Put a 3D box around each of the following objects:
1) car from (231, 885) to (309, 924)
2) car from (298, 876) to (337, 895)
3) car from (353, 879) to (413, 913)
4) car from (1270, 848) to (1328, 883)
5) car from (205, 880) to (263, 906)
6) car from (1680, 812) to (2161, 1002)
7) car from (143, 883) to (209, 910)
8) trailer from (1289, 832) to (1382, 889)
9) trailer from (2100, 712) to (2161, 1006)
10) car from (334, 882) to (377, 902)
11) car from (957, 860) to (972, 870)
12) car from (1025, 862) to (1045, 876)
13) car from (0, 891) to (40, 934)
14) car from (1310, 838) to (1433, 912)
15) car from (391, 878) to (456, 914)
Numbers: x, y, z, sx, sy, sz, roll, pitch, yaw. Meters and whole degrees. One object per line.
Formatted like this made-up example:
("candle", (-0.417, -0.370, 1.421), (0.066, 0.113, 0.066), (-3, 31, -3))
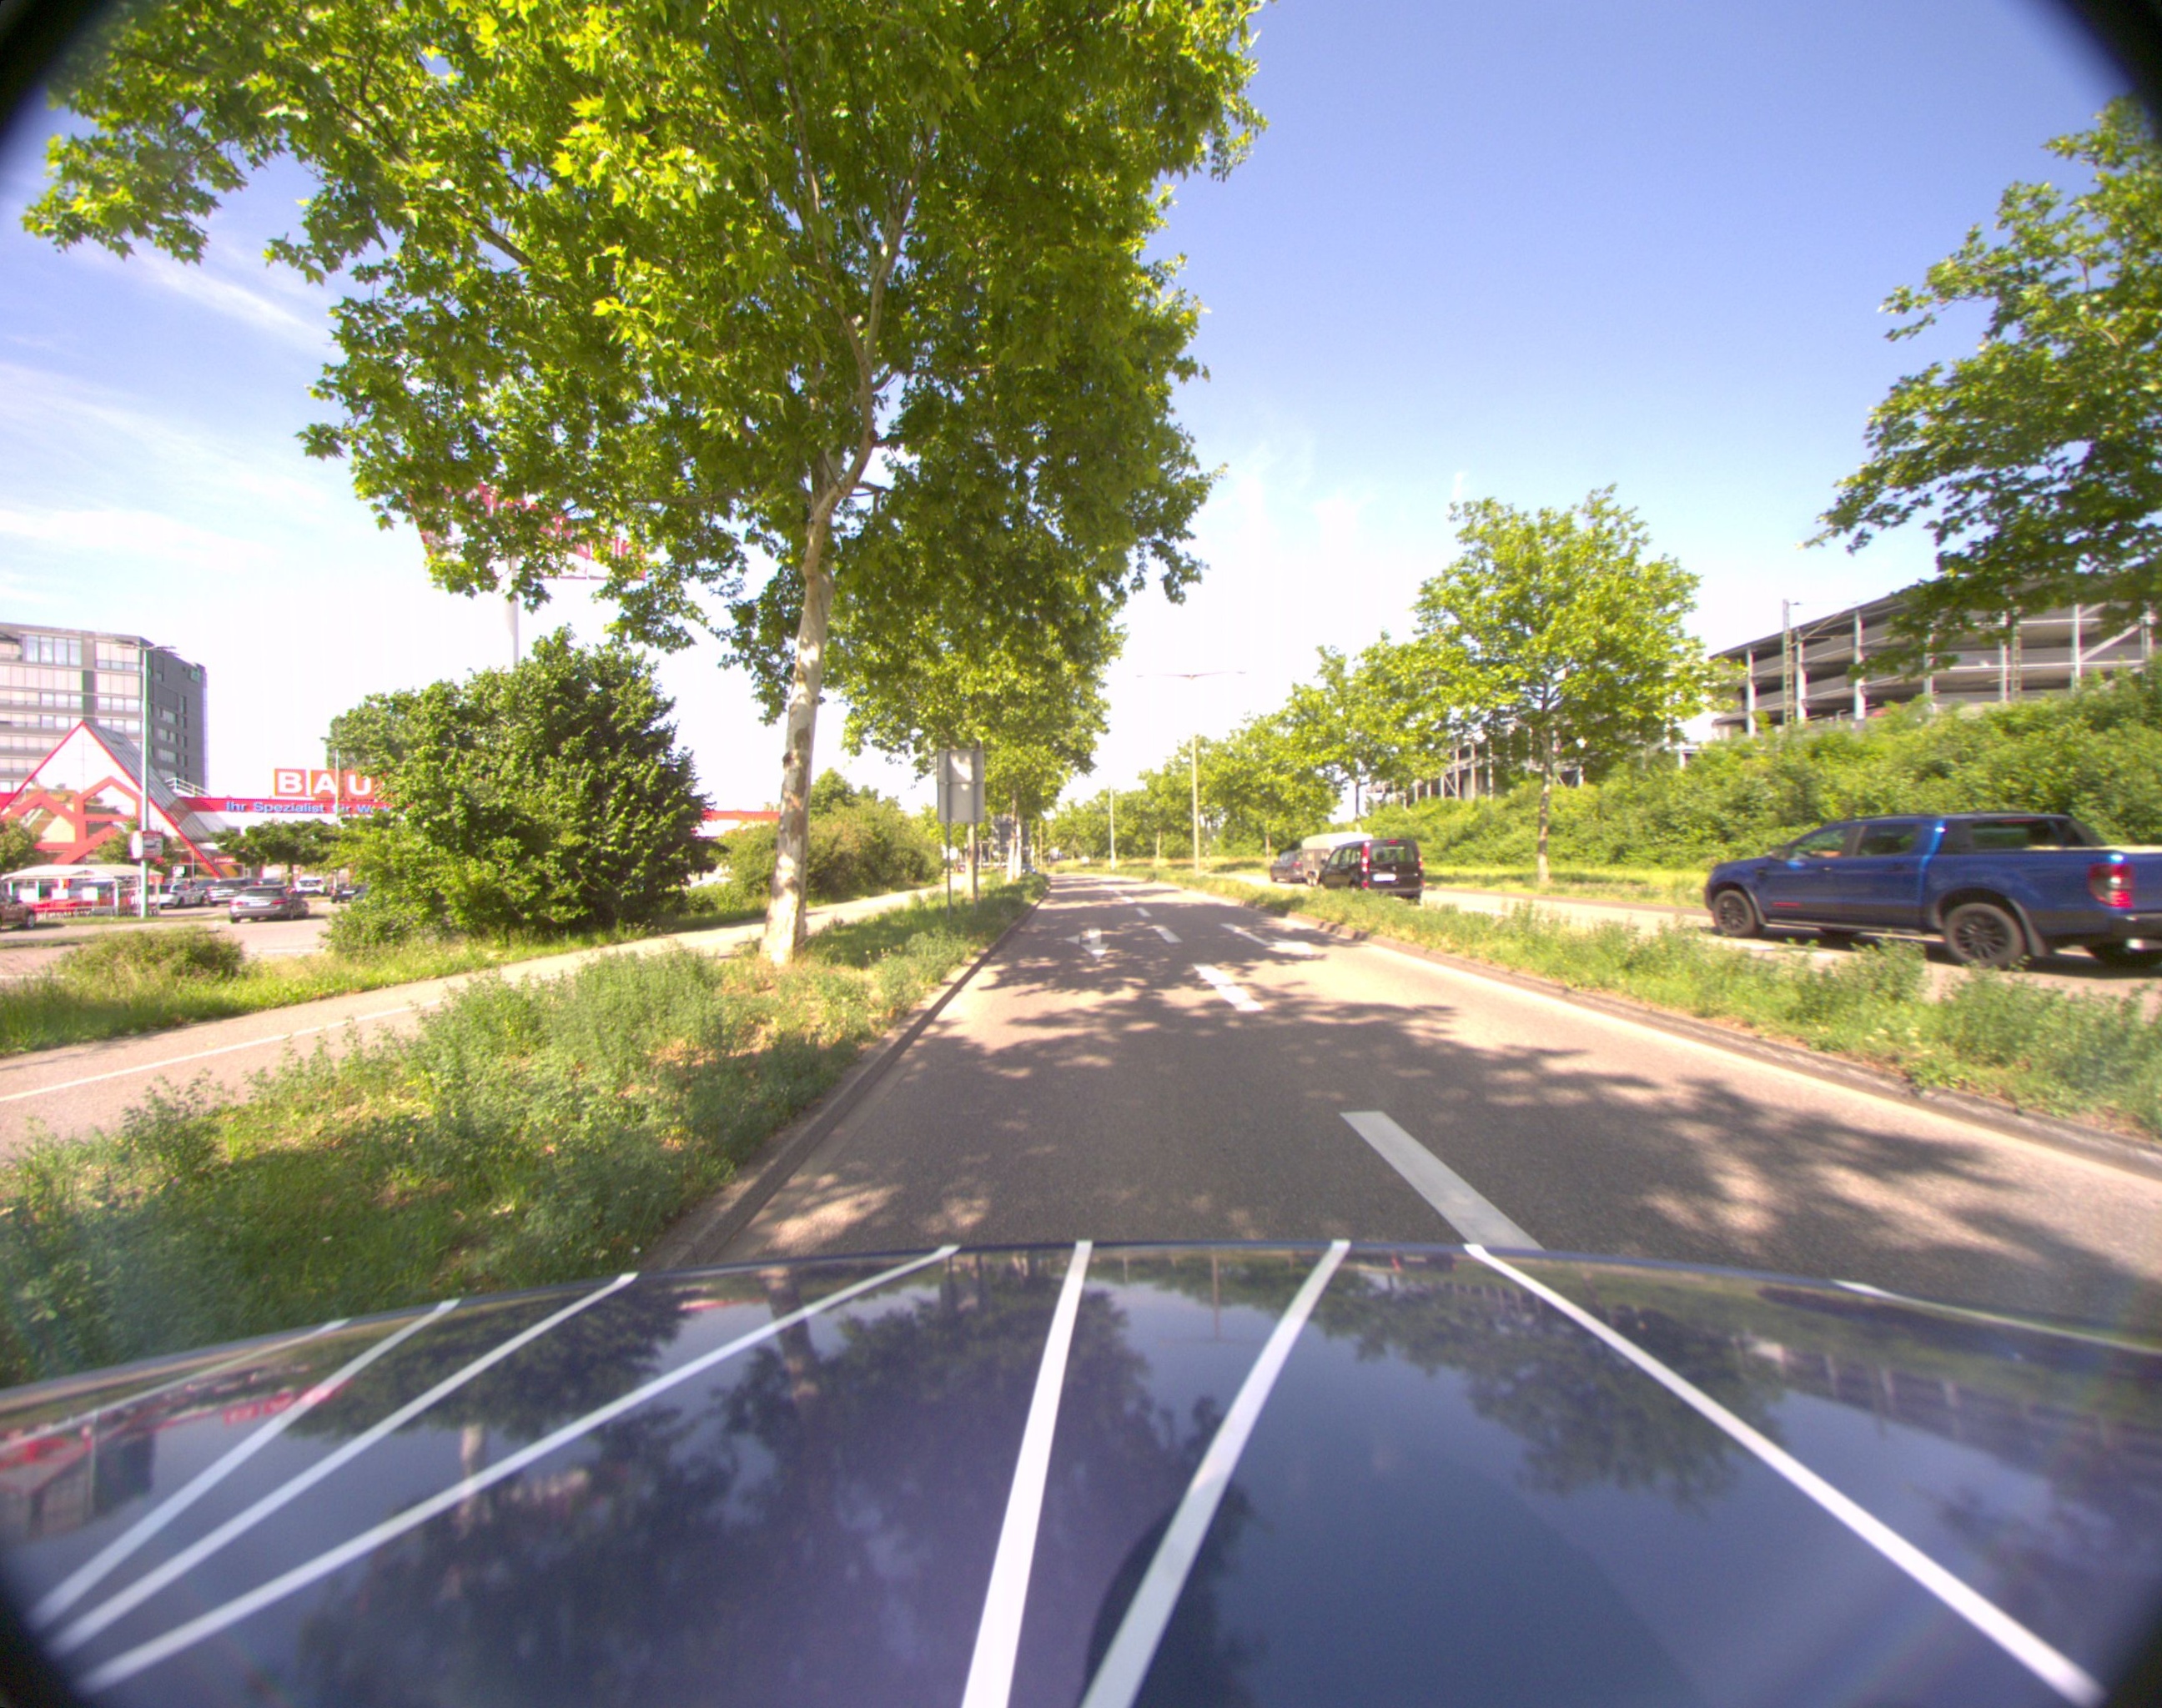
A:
("car", (-35.685, 2.175, 33.523), (1.784, 1.477, 3.779), (-2, 0, -39))
("car", (-60.004, 2.443, 59.761), (1.572, 1.371, 3.610), (-2, 0, -37))
("car", (-36.853, 2.171, 40.235), (1.633, 1.618, 4.747), (0, -2, -34))
("car", (10.908, 0.541, 38.336), (1.719, 1.612, 4.361), (-1, 1, 1))
("car", (-50.094, 2.283, 45.017), (1.572, 1.371, 3.610), (-2, 0, -37))
("car", (10.911, 0.464, 9.968), (1.769, 1.779, 5.375), (-3, 0, -1))
("car", (-51.658, 2.375, 43.429), (1.572, 1.371, 3.610), (-2, 0, -37))
("trailer", (11.058, 0.240, 33.550), (2.314, 2.252, 5.538), (-1, 1, 1))
("trailer", (10.930, 0.025, 5.021), (1.884, 2.728, 4.828), (-3, 1, 0))
("car", (-45.800, 2.384, 47.995), (1.521, 1.053, 3.179), (-3, 1, -36))
("car", (-19.456, 1.897, 127.105), (1.651, 1.592, 3.597), (-2, 0, -23))
("car", (-5.356, 1.742, 88.358), (1.723, 1.575, 3.750), (-2, 0, -12))
("car", (-41.769, 2.252, 28.825), (1.685, 1.537, 3.779), (-2, 0, -39))
("car", (8.094, 0.527, 21.621), (1.735, 1.798, 4.231), (-3, 1, -2))
("car", (-31.980, 2.021, 37.087), (2.003, 1.499, 3.989), (-2, 1, -36))
